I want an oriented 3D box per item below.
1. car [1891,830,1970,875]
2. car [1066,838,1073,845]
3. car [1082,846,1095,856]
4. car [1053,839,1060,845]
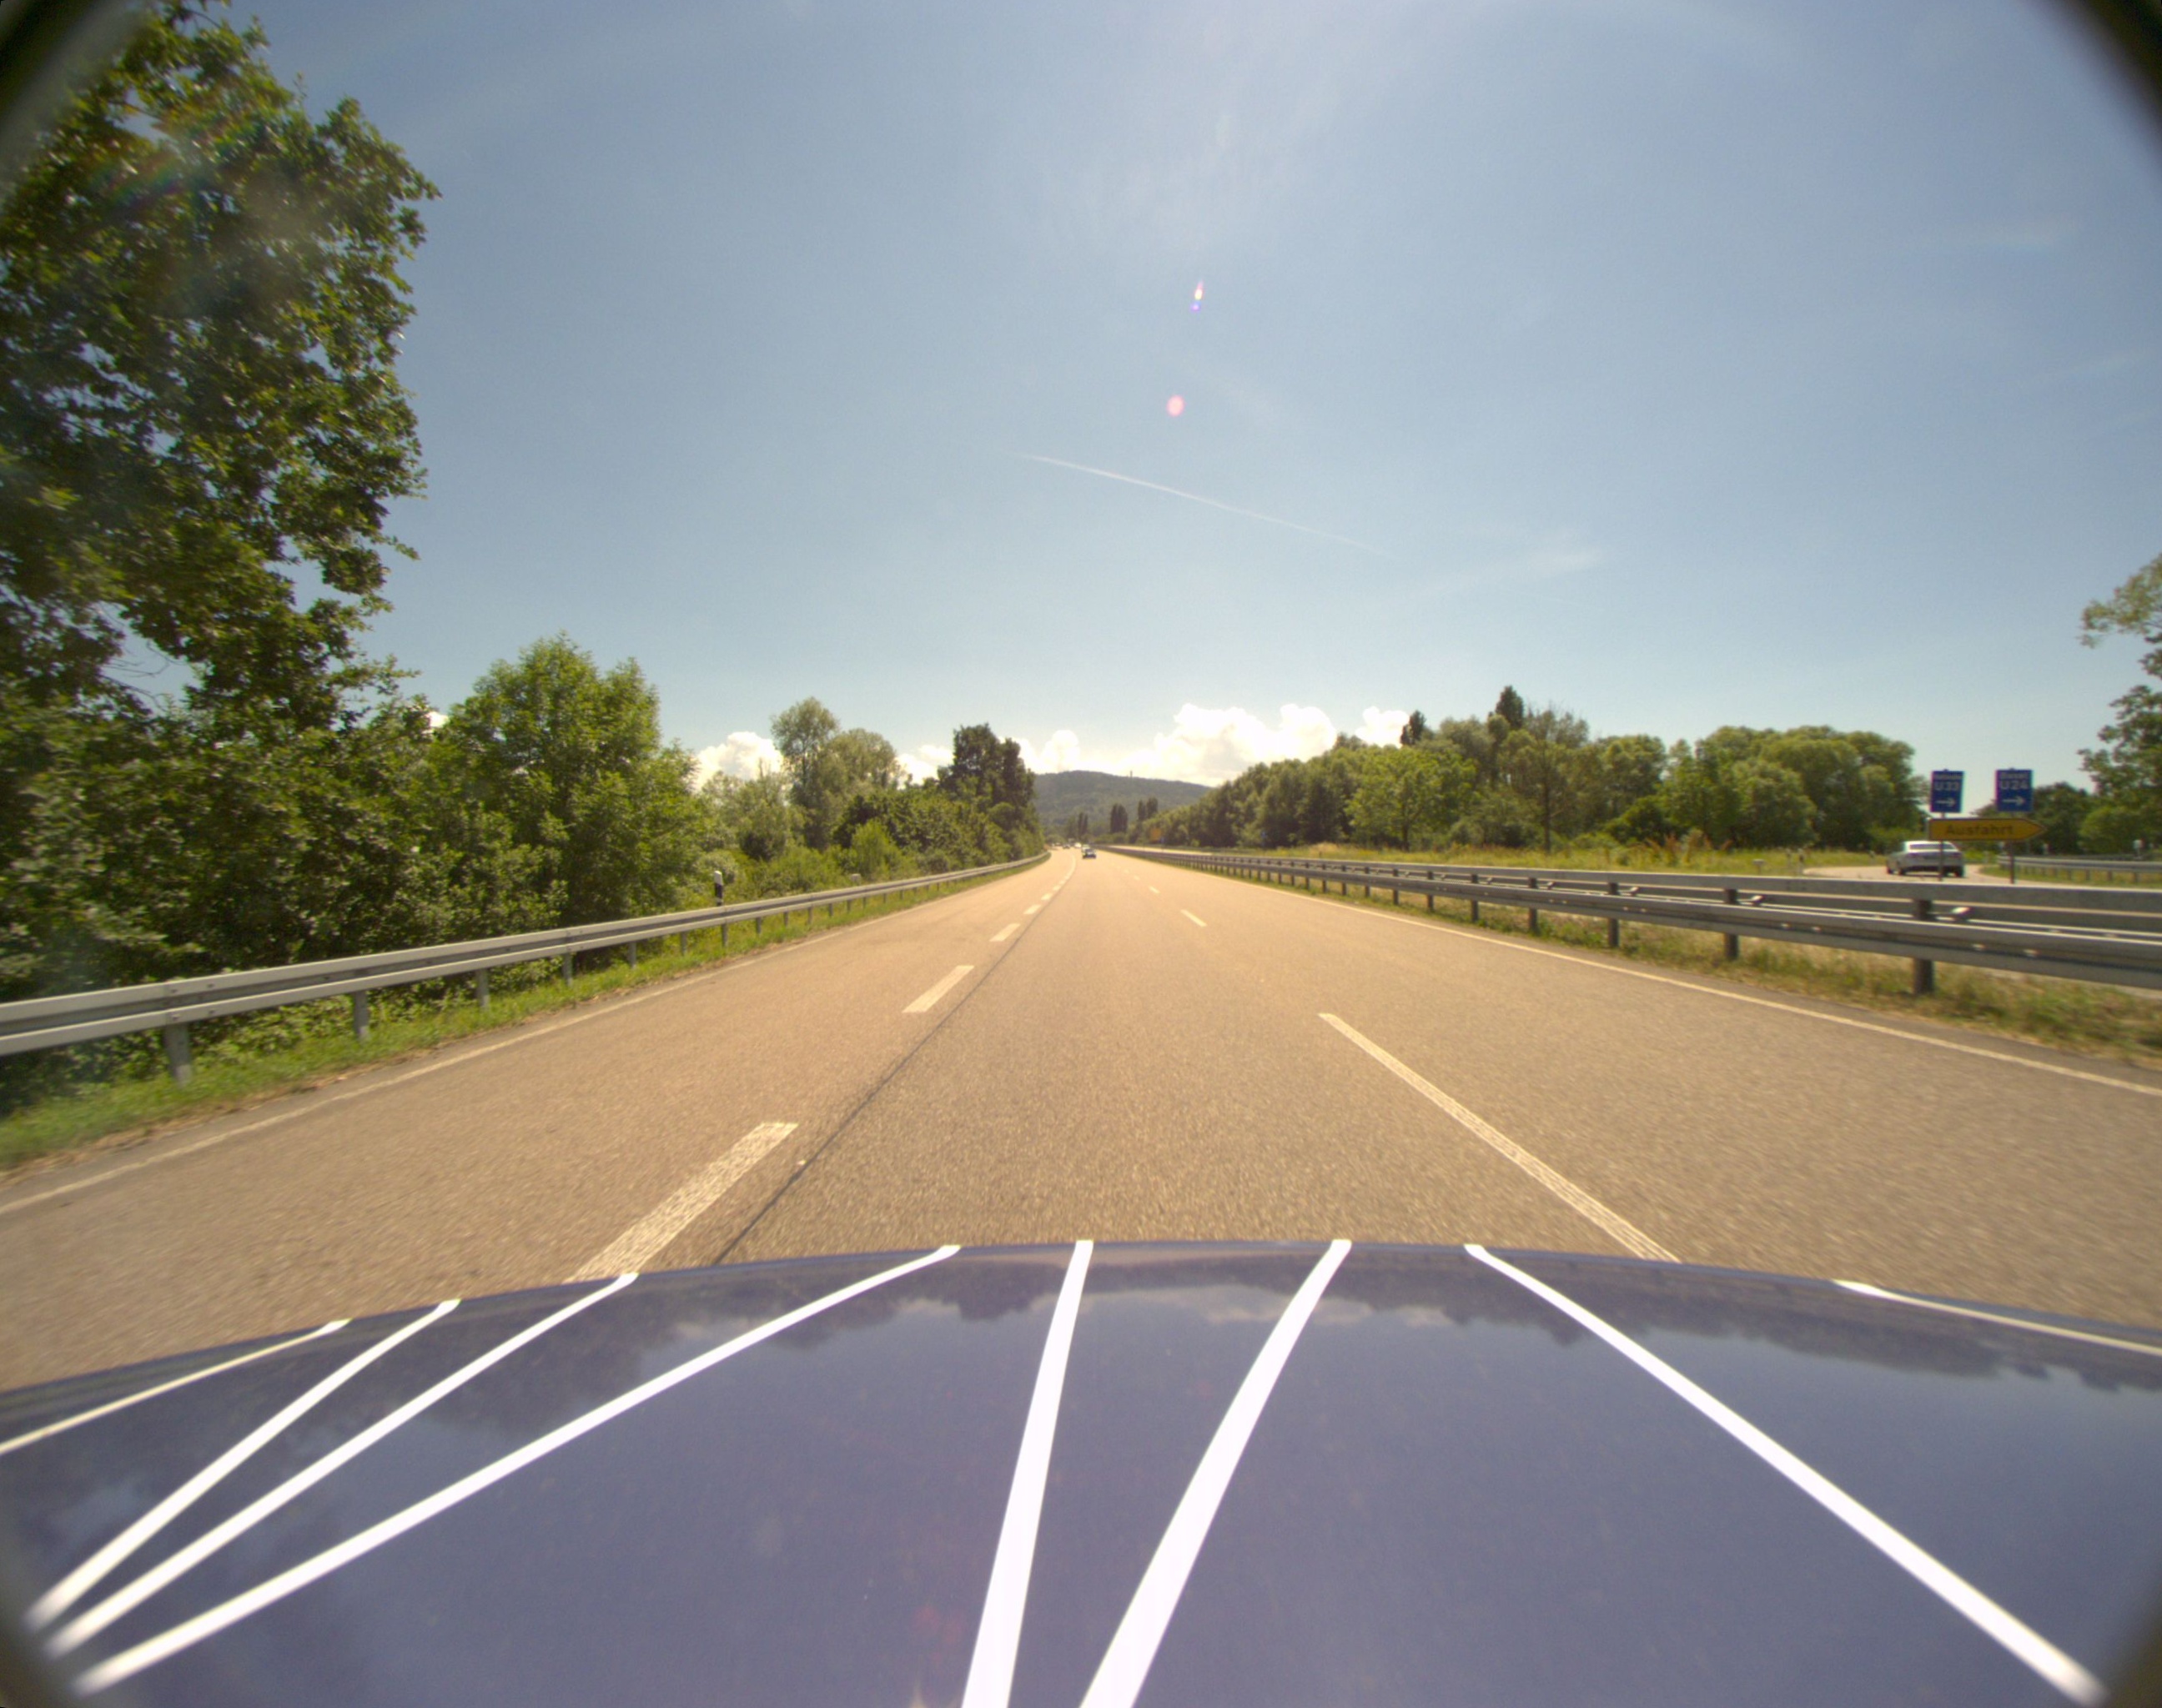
[{"bbox_3d":[35.056,-0.101,31.463,1.725,1.635,4.952,-1,1,43],"label":"car"},{"bbox_3d":[-3.196,-3.481,211.596,1.908,1.686,3.890,-2,1,2],"label":"car"},{"bbox_3d":[1.056,-0.466,109.123,1.908,1.368,3.890,-2,1,0],"label":"car"},{"bbox_3d":[-6.598,-3.243,206.028,1.658,1.536,3.690,-2,1,2],"label":"car"}]
